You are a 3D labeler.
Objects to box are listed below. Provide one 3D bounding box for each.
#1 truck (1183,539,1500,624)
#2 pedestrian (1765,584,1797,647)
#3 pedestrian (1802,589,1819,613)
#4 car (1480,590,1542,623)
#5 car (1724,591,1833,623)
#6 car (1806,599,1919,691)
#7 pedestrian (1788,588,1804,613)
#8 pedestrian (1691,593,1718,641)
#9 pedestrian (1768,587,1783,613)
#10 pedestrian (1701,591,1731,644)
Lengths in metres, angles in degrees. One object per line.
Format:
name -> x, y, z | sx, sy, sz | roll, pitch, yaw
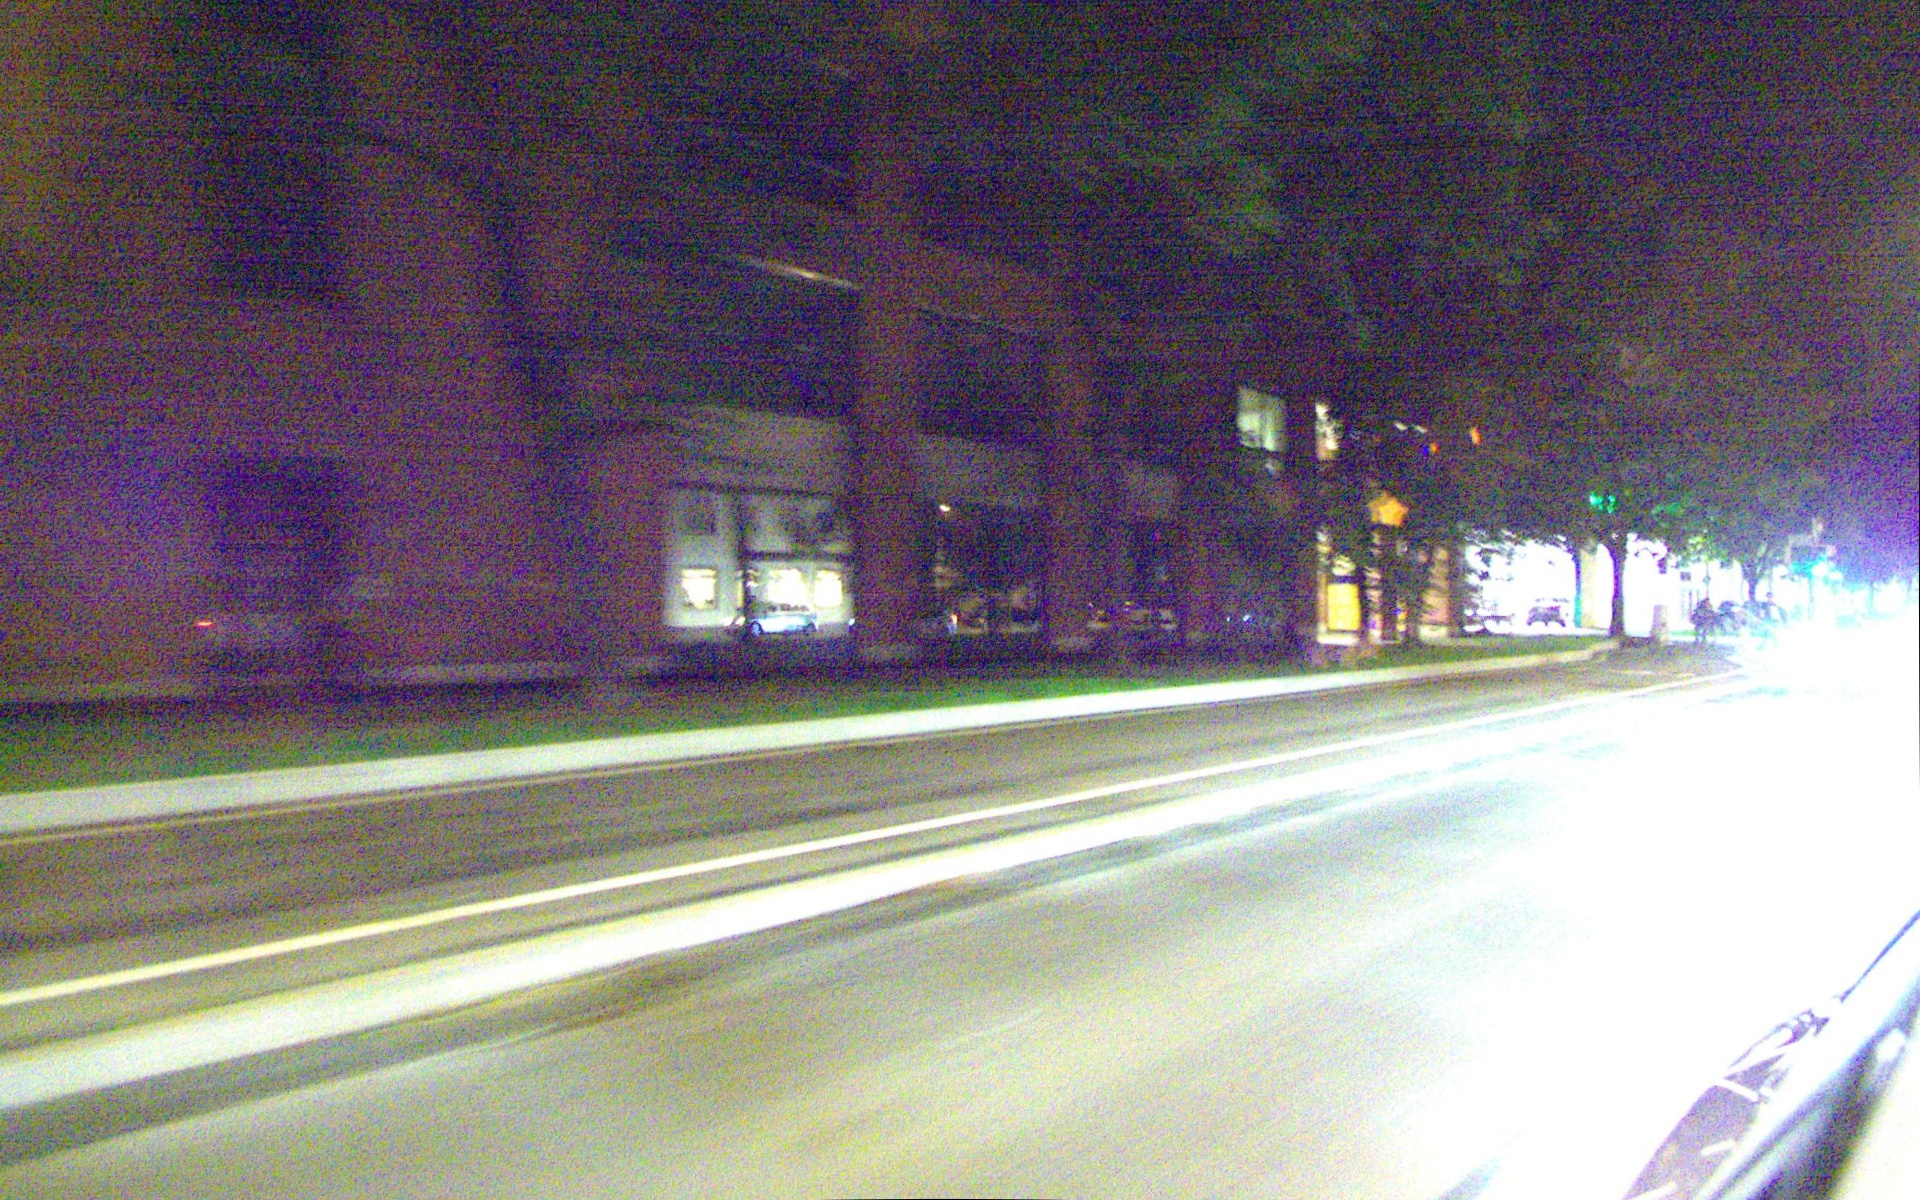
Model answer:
truck -> 19.921, -1.044, 55.120 | 3.077, 4.033, 16.812 | -1, 2, -40
pedestrian -> 24.384, 0.452, 30.056 | 0.746, 1.834, 0.623 | 0, 1, -41
pedestrian -> 60.687, 0.061, 72.204 | 0.968, 1.738, 0.736 | 0, 1, -41
car -> 29.637, 0.303, 54.395 | 3.933, 1.616, 1.729 | -1, 2, -43
car -> 41.802, 0.325, 51.730 | 1.756, 1.472, 4.088 | -1, 2, -41
car -> 16.681, 0.716, 18.065 | 4.420, 1.448, 1.727 | -1, 0, -41
pedestrian -> 60.204, 0.015, 72.872 | 0.953, 1.811, 0.720 | 0, 1, -41
pedestrian -> 24.539, 0.543, 33.368 | 0.622, 1.553, 0.573 | 0, 1, -40
pedestrian -> 59.478, 0.009, 73.810 | 0.890, 1.839, 0.675 | 0, 1, -41
pedestrian -> 23.864, 0.540, 31.931 | 0.667, 1.659, 0.622 | 0, 1, -40
